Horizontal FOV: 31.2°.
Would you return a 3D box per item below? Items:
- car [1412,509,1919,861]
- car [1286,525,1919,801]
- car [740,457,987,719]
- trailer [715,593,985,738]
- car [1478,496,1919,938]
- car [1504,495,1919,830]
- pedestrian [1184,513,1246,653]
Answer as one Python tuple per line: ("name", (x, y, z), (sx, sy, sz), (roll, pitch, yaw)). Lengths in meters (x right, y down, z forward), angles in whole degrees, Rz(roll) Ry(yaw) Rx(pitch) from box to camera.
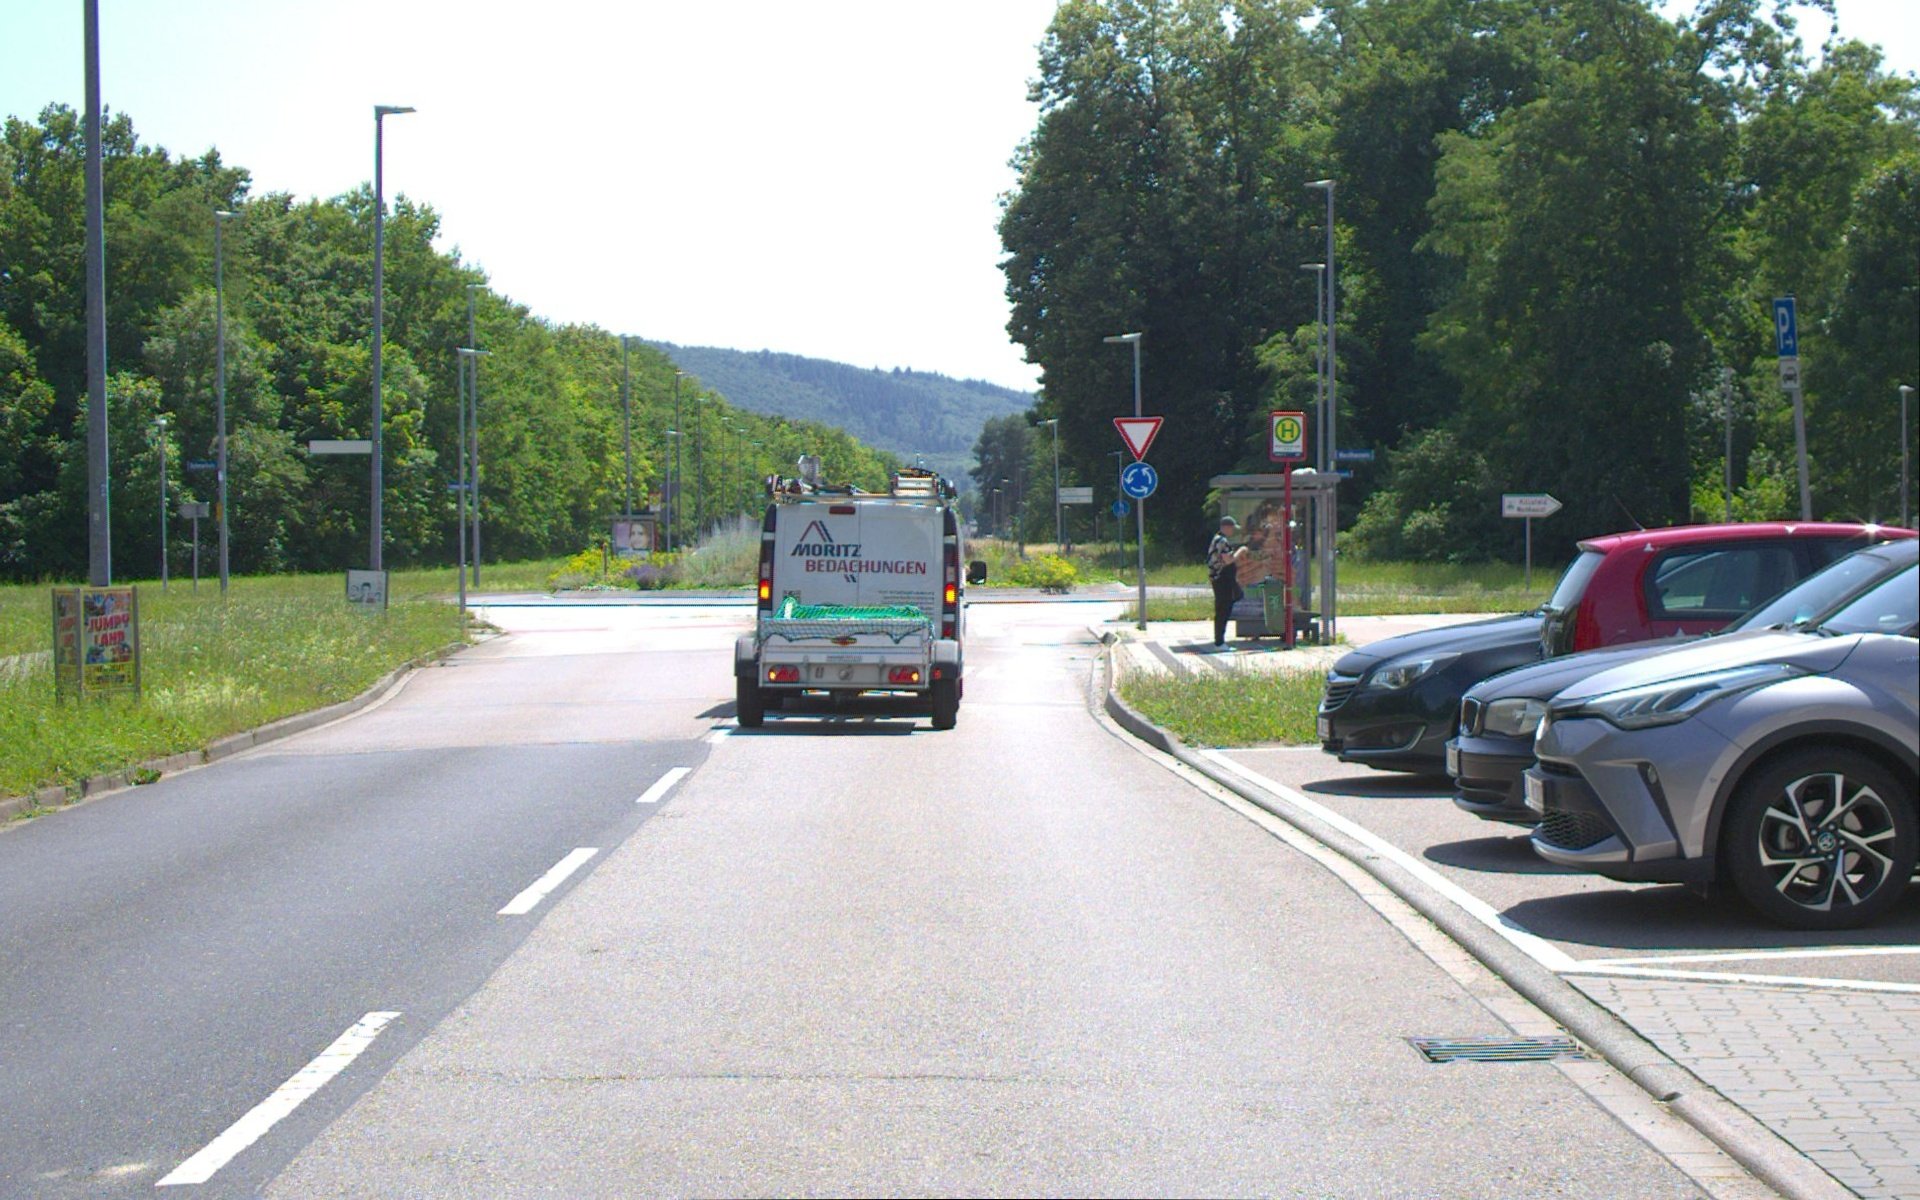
("car", (4.064, 0.344, 15.675), (3.808, 1.481, 1.655), (-1, 0, 3))
("car", (4.325, 0.323, 20.261), (4.567, 1.427, 1.827), (-2, 0, -1))
("car", (-0.885, -0.130, 33.093), (2.166, 2.308, 4.981), (1, 1, -1))
("trailer", (-0.884, 0.516, 28.906), (2.121, 1.093, 3.355), (1, 1, 0))
("car", (4.299, 0.371, 13.251), (4.321, 1.558, 1.786), (-2, 0, 2))
("car", (4.964, 0.293, 17.964), (3.987, 1.649, 1.839), (-1, 0, 3))
("pedestrian", (3.367, -0.226, 45.450), (0.708, 1.816, 0.826), (-2, 0, 1))
